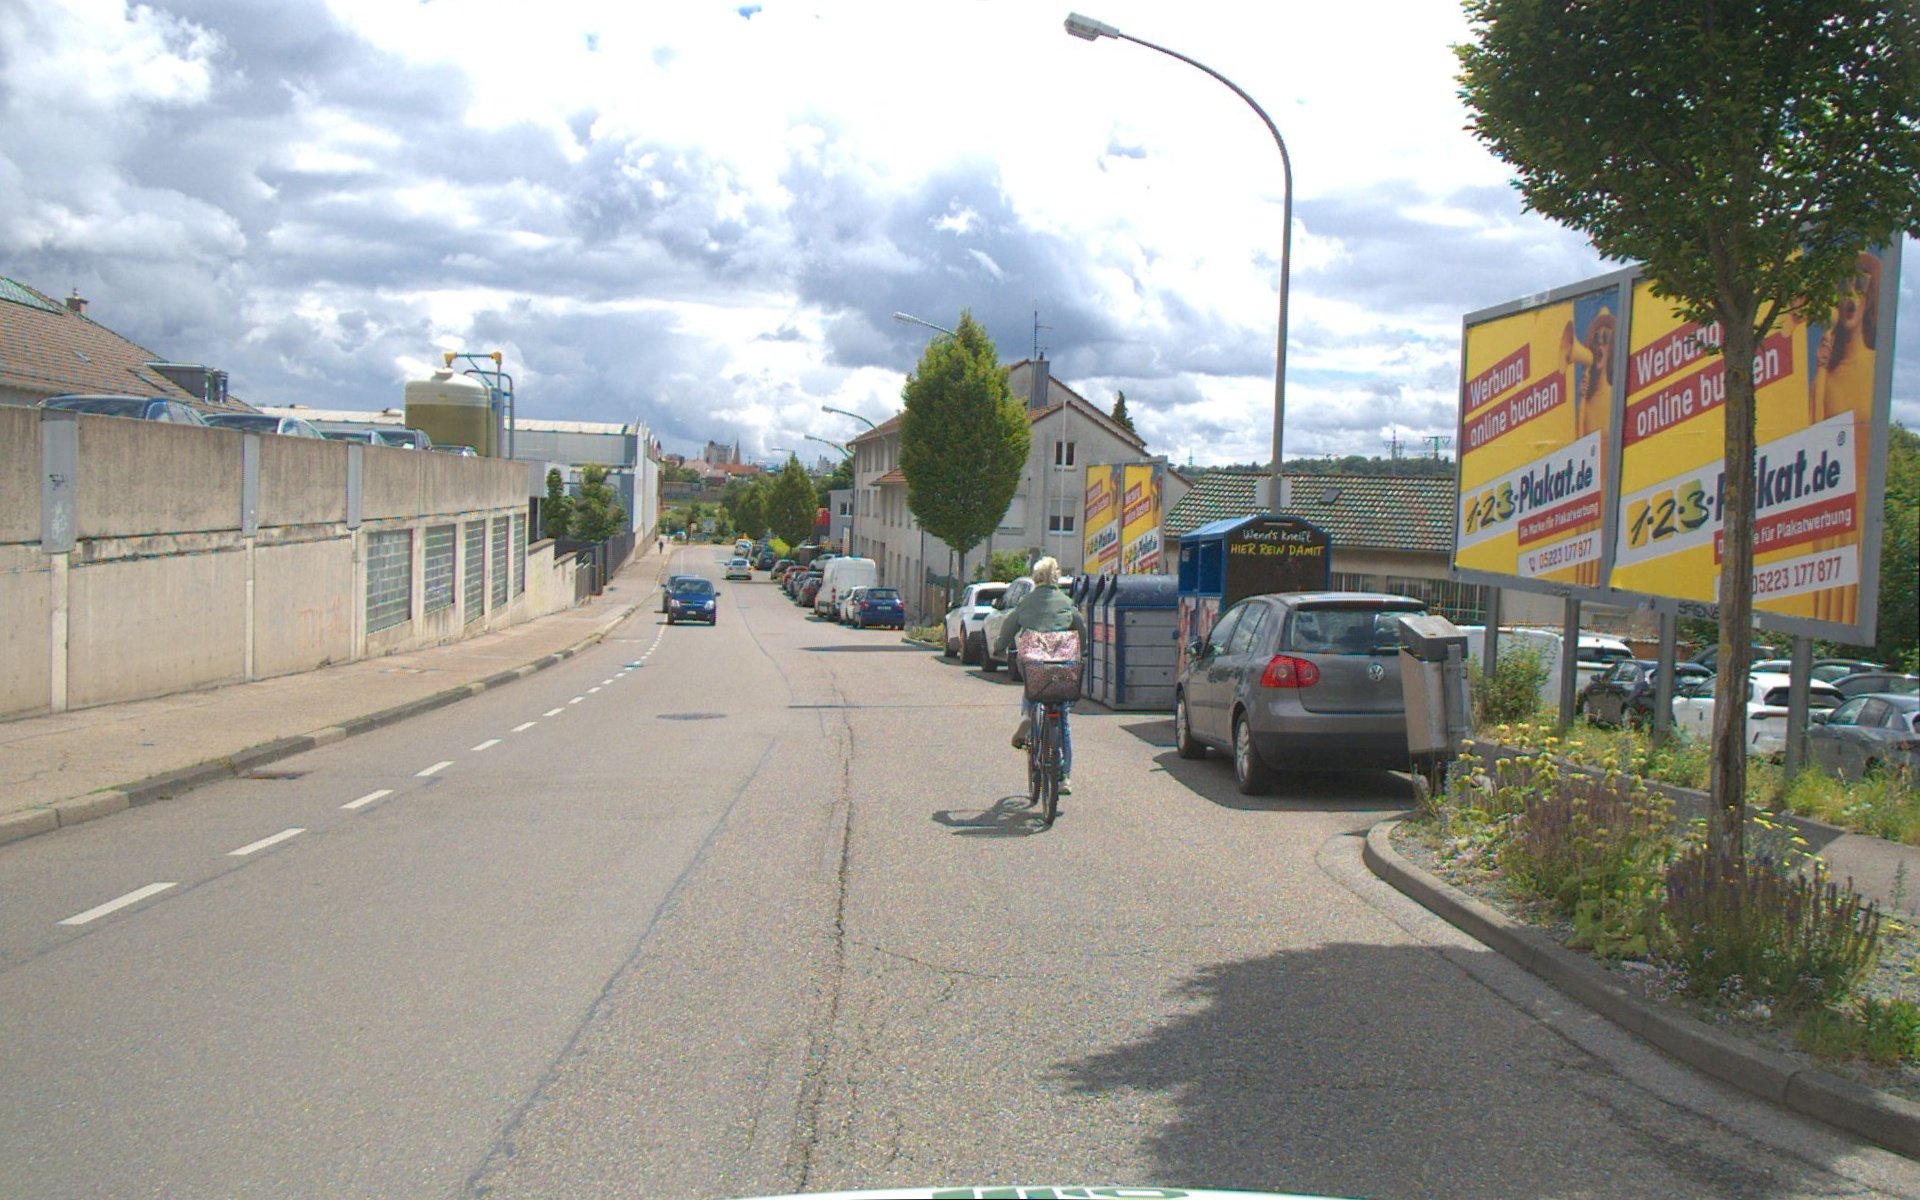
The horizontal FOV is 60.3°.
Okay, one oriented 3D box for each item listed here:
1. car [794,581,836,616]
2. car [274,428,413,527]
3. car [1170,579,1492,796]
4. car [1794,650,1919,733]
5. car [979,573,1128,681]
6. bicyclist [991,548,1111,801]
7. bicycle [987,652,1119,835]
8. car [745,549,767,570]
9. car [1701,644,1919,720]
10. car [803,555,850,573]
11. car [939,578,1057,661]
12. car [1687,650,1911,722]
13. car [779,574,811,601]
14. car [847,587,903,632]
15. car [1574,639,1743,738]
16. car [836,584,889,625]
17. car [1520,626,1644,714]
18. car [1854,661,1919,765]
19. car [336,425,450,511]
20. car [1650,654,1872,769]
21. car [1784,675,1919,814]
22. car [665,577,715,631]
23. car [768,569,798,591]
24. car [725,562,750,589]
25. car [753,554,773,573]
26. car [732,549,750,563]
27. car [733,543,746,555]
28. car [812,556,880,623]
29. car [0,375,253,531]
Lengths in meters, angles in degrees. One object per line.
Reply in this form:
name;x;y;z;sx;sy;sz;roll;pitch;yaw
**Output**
car;-7.672;-0.113;87.190;1.674;1.536;5.076;3;2;-11
car;-12.494;-2.438;33.759;1.772;1.665;4.097;1;0;-8
car;2.870;0.615;13.651;1.622;1.511;4.043;0;0;-2
car;17.572;1.651;30.107;3.944;1.414;1.745;0;0;12
car;1.497;0.423;28.209;1.654;1.688;4.471;1;0;-9
bicyclist;0.609;0.492;11.297;0.724;1.655;0.731;1;0;-2
bicycle;0.600;0.927;11.257;0.725;0.992;1.732;2;3;-1
car;-19.969;-3.958;161.436;1.835;2.025;5.133;1;1;-10
car;17.185;1.631;33.384;3.905;1.414;1.597;0;0;19
car;-11.440;-3.052;141.306;4.002;1.488;1.715;1;3;42
car;0.711;0.376;34.130;1.807;1.592;4.458;0;0;-7
car;18.029;1.835;35.749;4.086;1.414;1.791;0;0;18
car;-10.471;-0.828;104.804;1.703;1.498;4.253;2;2;-9
car;-3.134;0.327;60.329;1.538;1.536;4.084;1;0;-10
car;13.214;1.625;31.562;1.773;1.650;4.466;0;0;6
car;-3.870;0.181;65.090;1.564;1.536;3.780;1;0;-11
car;13.785;1.504;36.892;1.712;1.714;4.683;0;1;10
car;17.426;1.930;27.746;3.902;1.640;1.798;1;0;12
car;-13.467;-3.096;39.488;1.772;1.665;4.097;1;0;-8
car;12.854;1.734;26.861;1.714;1.544;4.585;0;0;5
car;12.507;1.866;21.913;1.658;1.472;4.157;2;0;10
car;-9.475;0.137;57.830;1.597;1.849;3.769;0;0;-11
car;-12.908;-1.494;120.684;1.759;1.491;4.696;1;1;-11
car;-15.787;-1.726;117.212;1.538;1.817;3.597;1;0;-10
car;-17.470;-3.241;146.894;1.648;1.666;4.116;2;1;-8
car;-27.147;-5.513;205.036;1.672;1.554;3.726;4;1;-13
car;-28.730;-6.675;215.519;1.669;1.554;3.732;2;1;-8
car;-4.974;-0.447;71.130;1.997;2.687;7.264;1;0;-11
car;-10.991;-1.862;22.109;1.772;1.665;4.097;1;0;-8
